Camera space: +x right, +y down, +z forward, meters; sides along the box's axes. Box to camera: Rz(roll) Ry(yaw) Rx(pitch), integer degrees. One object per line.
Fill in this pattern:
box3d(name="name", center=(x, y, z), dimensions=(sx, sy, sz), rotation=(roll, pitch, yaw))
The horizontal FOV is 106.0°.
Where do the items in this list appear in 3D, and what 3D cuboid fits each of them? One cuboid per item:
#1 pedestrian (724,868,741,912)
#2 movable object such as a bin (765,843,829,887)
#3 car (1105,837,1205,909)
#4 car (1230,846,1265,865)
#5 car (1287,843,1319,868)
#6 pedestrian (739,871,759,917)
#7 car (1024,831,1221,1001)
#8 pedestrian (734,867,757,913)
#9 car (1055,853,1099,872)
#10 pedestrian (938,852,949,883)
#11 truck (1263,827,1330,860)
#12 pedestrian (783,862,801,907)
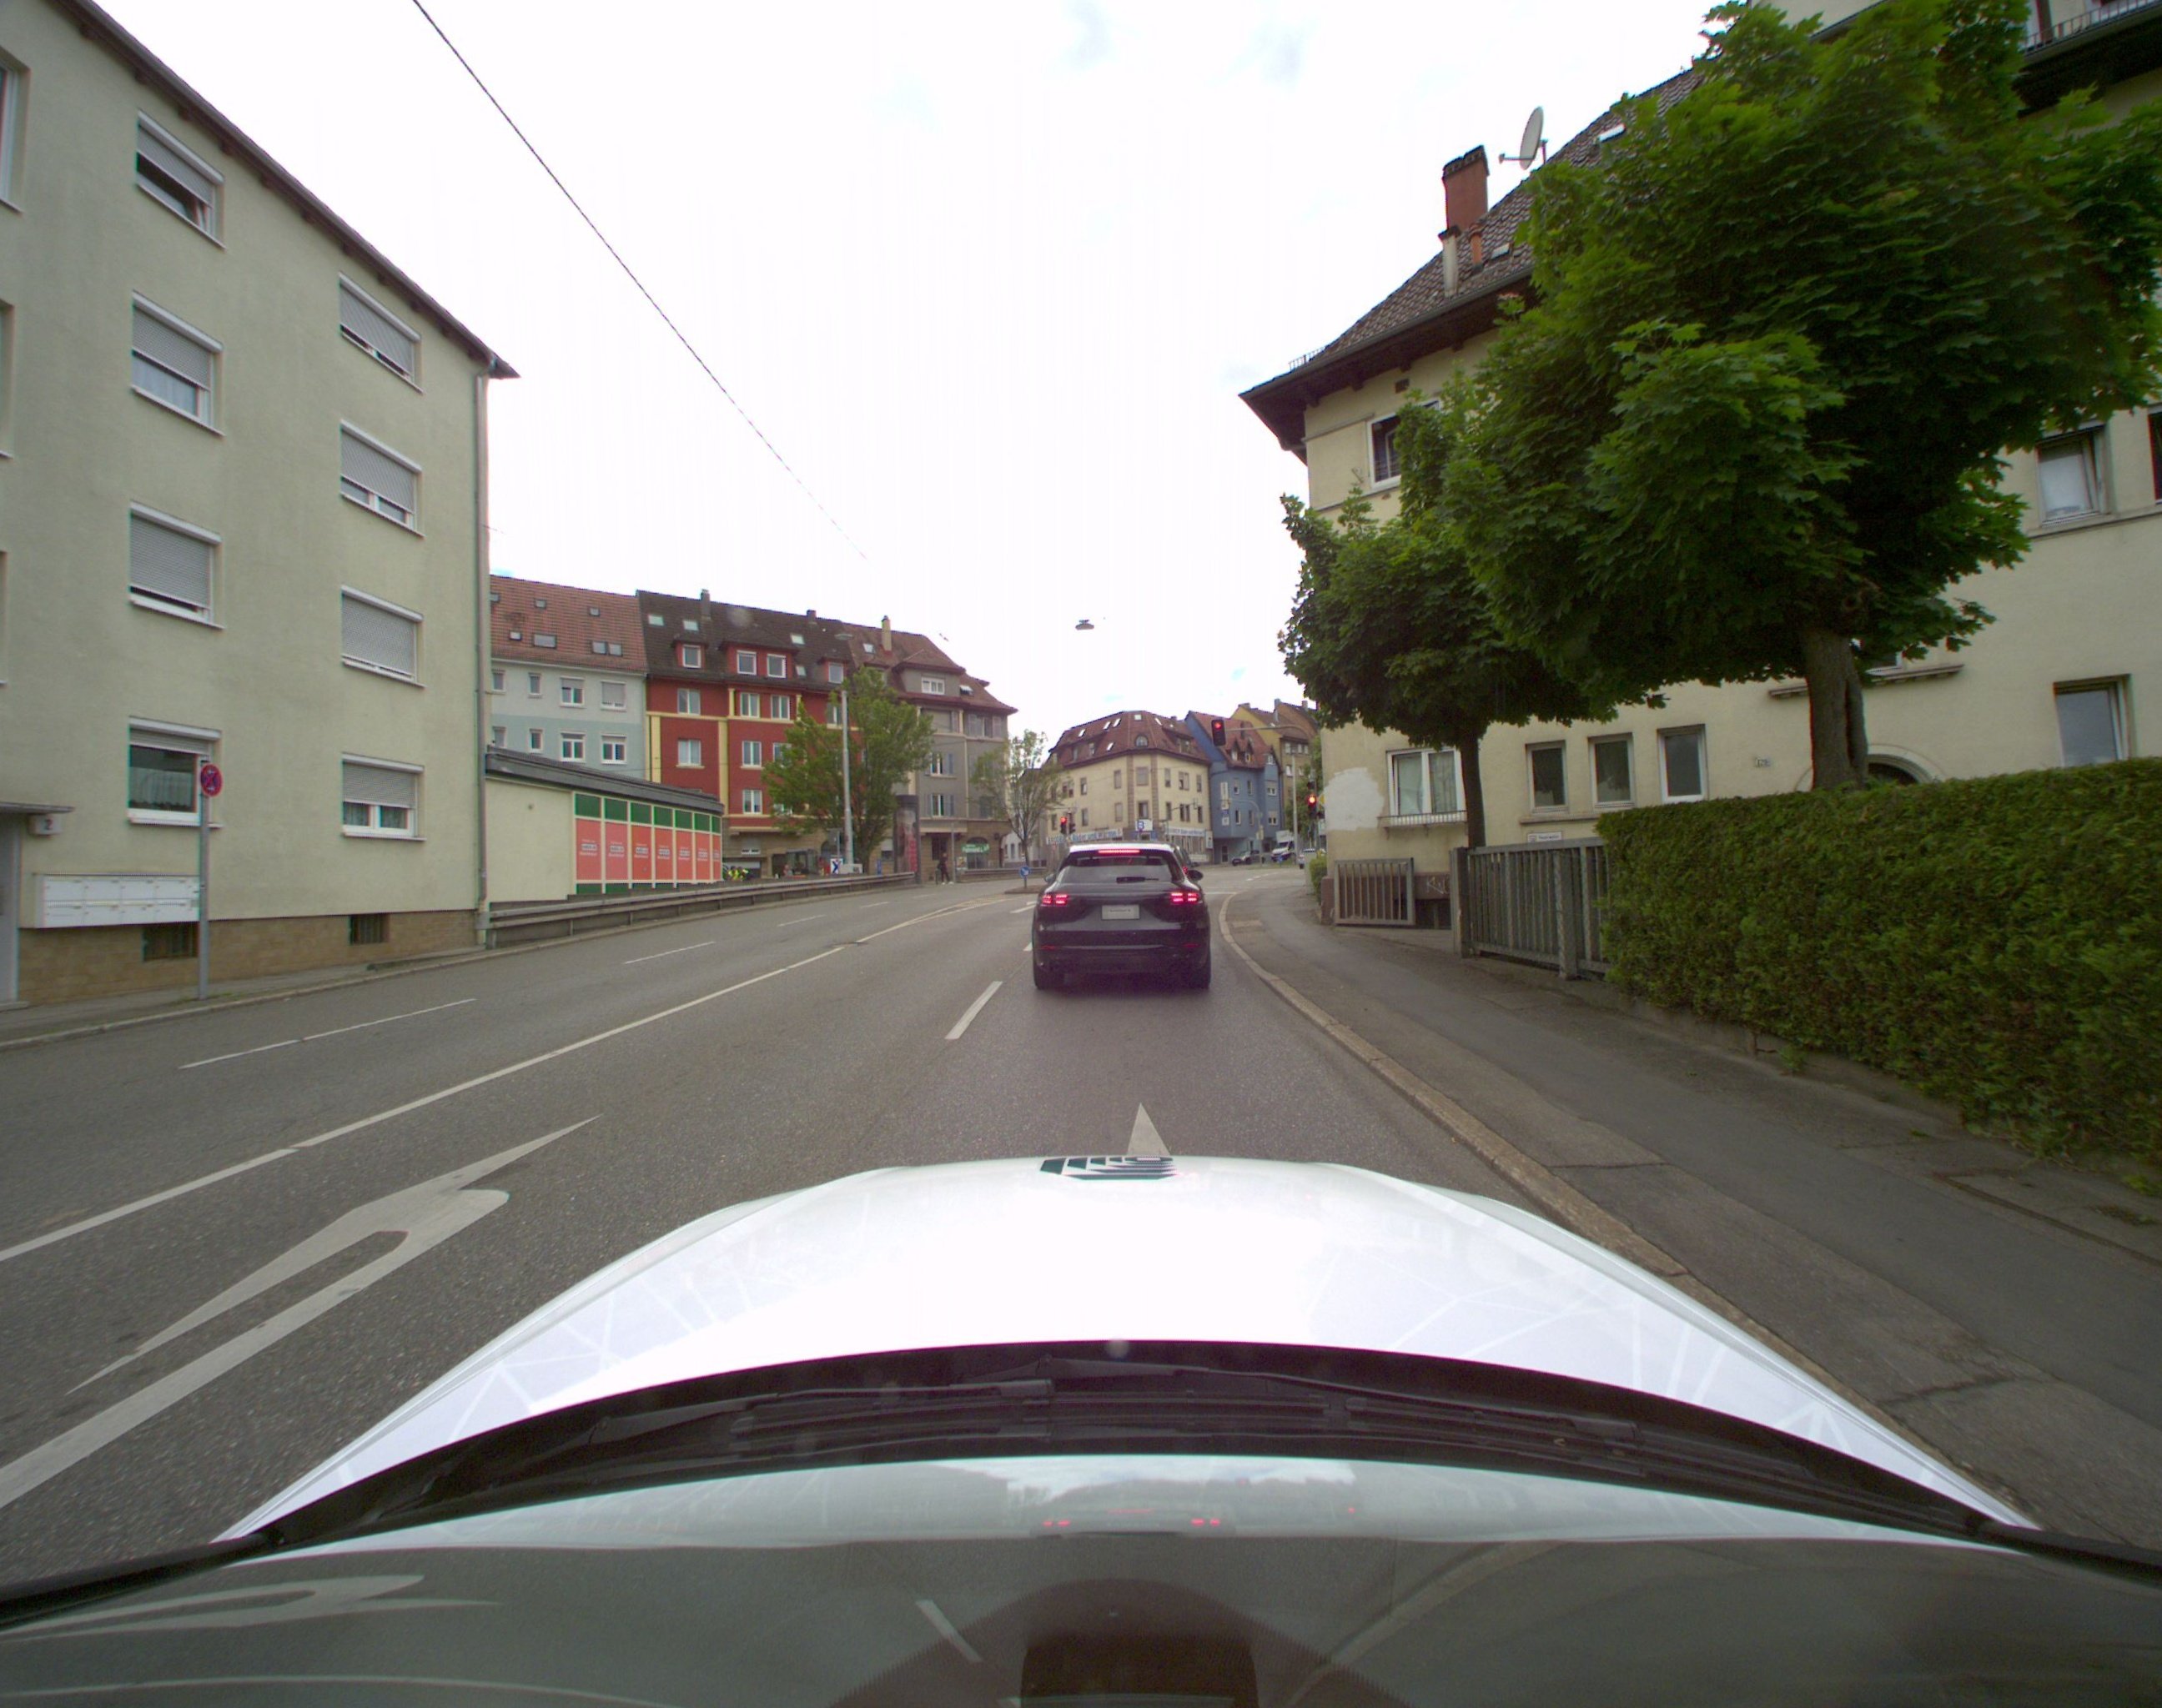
box3d(name="pedestrian", center=(-13.966, 1.424, 32.615), dimensions=(0.479, 1.730, 0.537), rotation=(1, -1, -42))
box3d(name="movable object such as a bin", center=(-12.090, 0.465, 34.867), dimensions=(1.902, 1.771, 3.987), rotation=(0, 0, -10))
box3d(name="car", center=(2.058, 0.458, 21.621), dimensions=(1.979, 1.684, 4.015), rotation=(-2, 0, 14))
box3d(name="car", center=(16.295, 0.131, 79.588), dimensions=(1.974, 1.684, 4.026), rotation=(-2, 0, 34))
box3d(name="car", center=(15.850, 0.099, 58.371), dimensions=(1.980, 1.684, 4.014), rotation=(-2, 0, 13))
box3d(name="pedestrian", center=(-12.507, 1.503, 30.698), dimensions=(0.562, 1.699, 0.542), rotation=(0, -1, -8))
box3d(name="car", center=(0.459, 0.612, 10.316), dimensions=(1.971, 1.684, 4.001), rotation=(-2, 1, 1))
box3d(name="pedestrian", center=(-13.170, 1.413, 31.948), dimensions=(0.565, 1.761, 0.622), rotation=(0, -1, 38))
box3d(name="car", center=(-0.358, 0.766, 73.105), dimensions=(2.008, 1.684, 3.956), rotation=(0, -1, -35))
box3d(name="pedestrian", center=(-7.794, 0.775, 46.217), dimensions=(0.511, 1.730, 0.451), rotation=(0, -1, 6))
box3d(name="truck", center=(23.277, -1.073, 87.672), dimensions=(8.845, 3.340, 2.847), rotation=(0, 0, -45))
box3d(name="pedestrian", center=(-11.352, 1.190, 32.025), dimensions=(0.545, 1.730, 0.588), rotation=(1, -1, -31))
